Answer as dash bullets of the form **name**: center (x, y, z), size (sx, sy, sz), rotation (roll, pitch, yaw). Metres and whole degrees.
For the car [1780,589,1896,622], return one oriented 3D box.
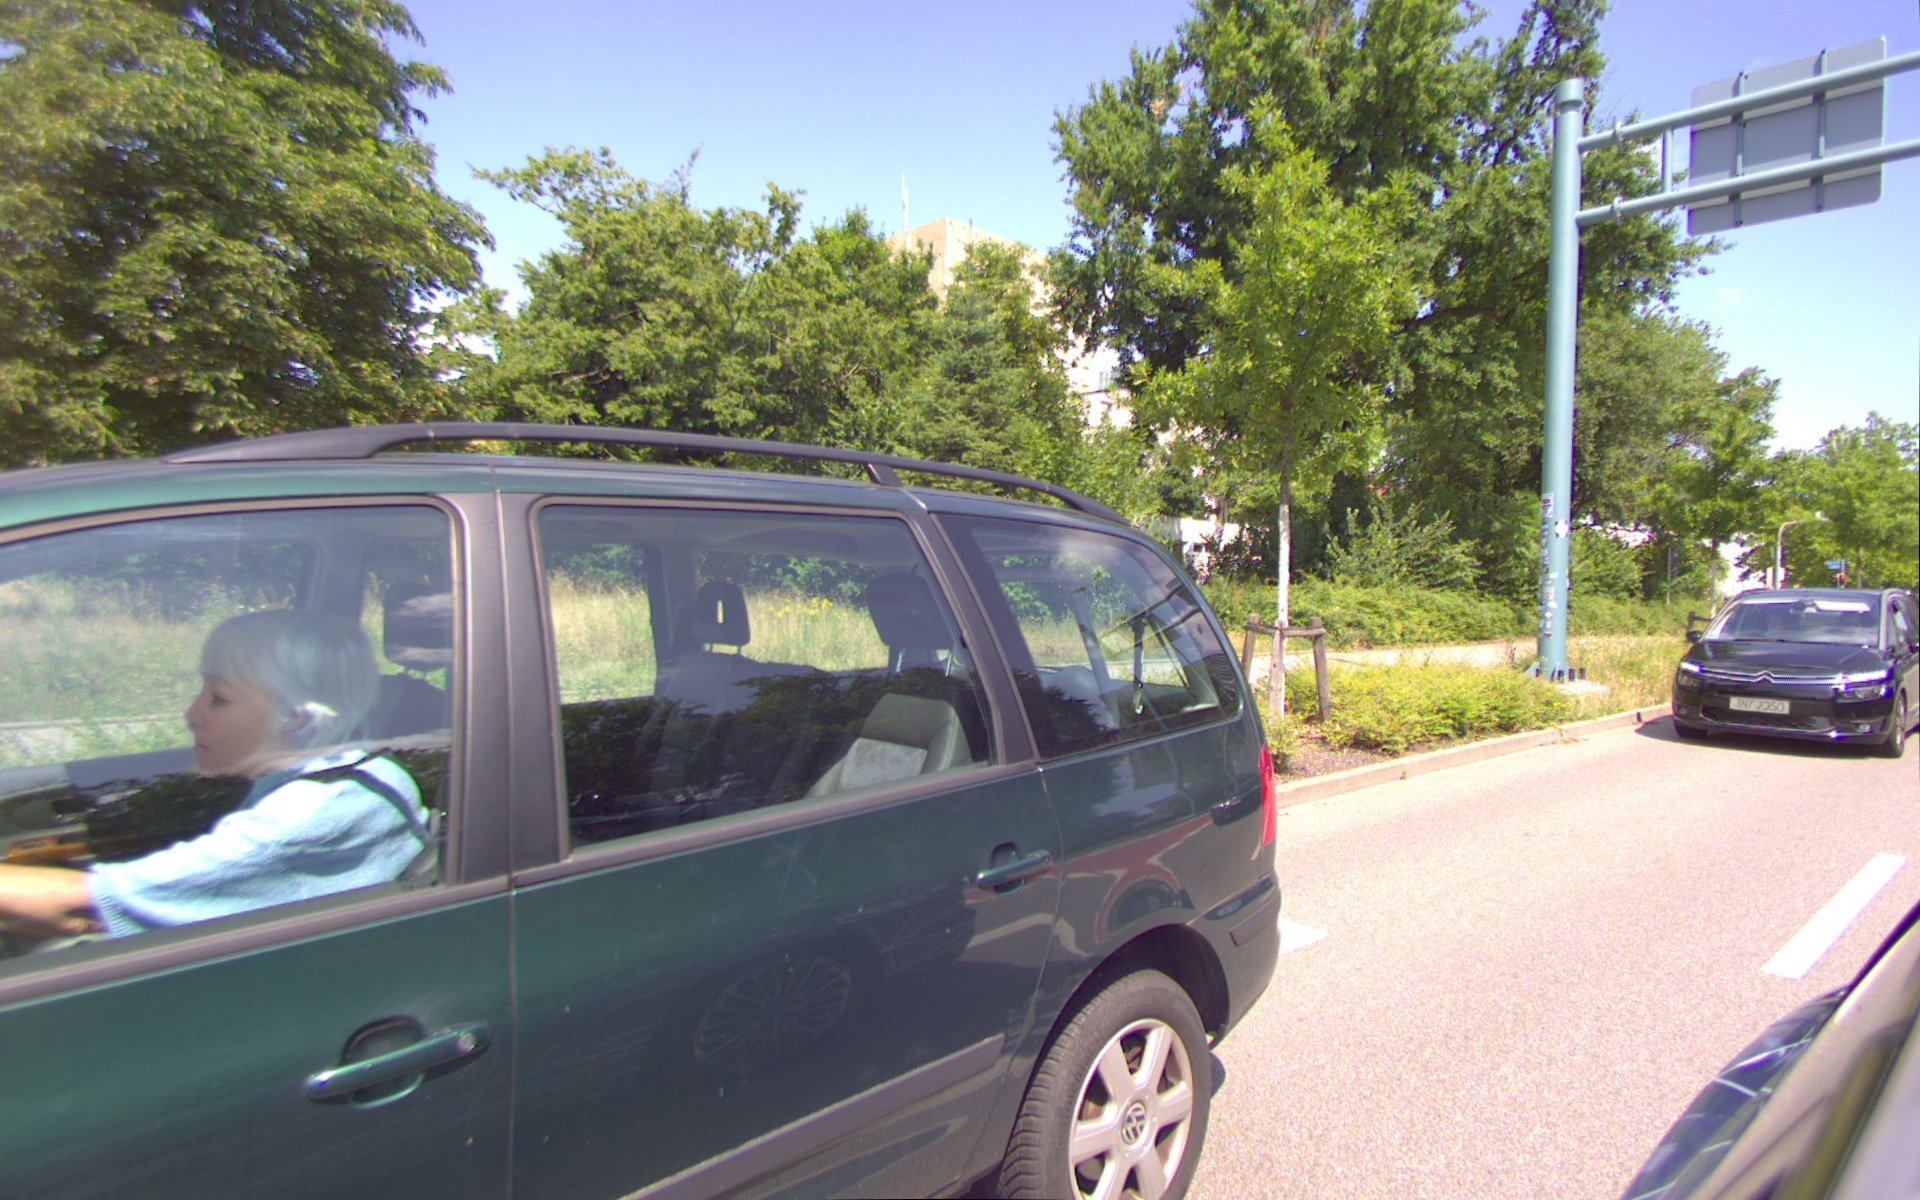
- **car**: center (45.404, 0.268, 52.414), size (4.465, 1.628, 1.789), rotation (0, -1, 44)

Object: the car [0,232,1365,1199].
- **car**: center (-1.125, 0.524, 1.970), size (4.315, 1.737, 1.804), rotation (0, -1, -41)

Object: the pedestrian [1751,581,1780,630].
- **pedestrian**: center (34.896, 0.229, 43.838), size (0.840, 2.063, 0.891), rotation (2, 0, 33)

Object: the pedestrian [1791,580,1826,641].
- **pedestrian**: center (25.329, 0.316, 30.210), size (0.871, 1.787, 0.638), rotation (1, 1, -42)

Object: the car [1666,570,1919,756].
- **car**: center (9.405, 0.564, 11.002), size (4.400, 1.628, 1.815), rotation (1, -1, -41)

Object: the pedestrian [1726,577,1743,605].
- **pedestrian**: center (45.813, -0.507, 59.876), size (0.761, 1.630, 0.757), rotation (2, 1, 39)

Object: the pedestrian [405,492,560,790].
- **pedestrian**: center (-2.994, 0.230, 6.327), size (0.799, 1.705, 0.762), rotation (1, 1, -29)
